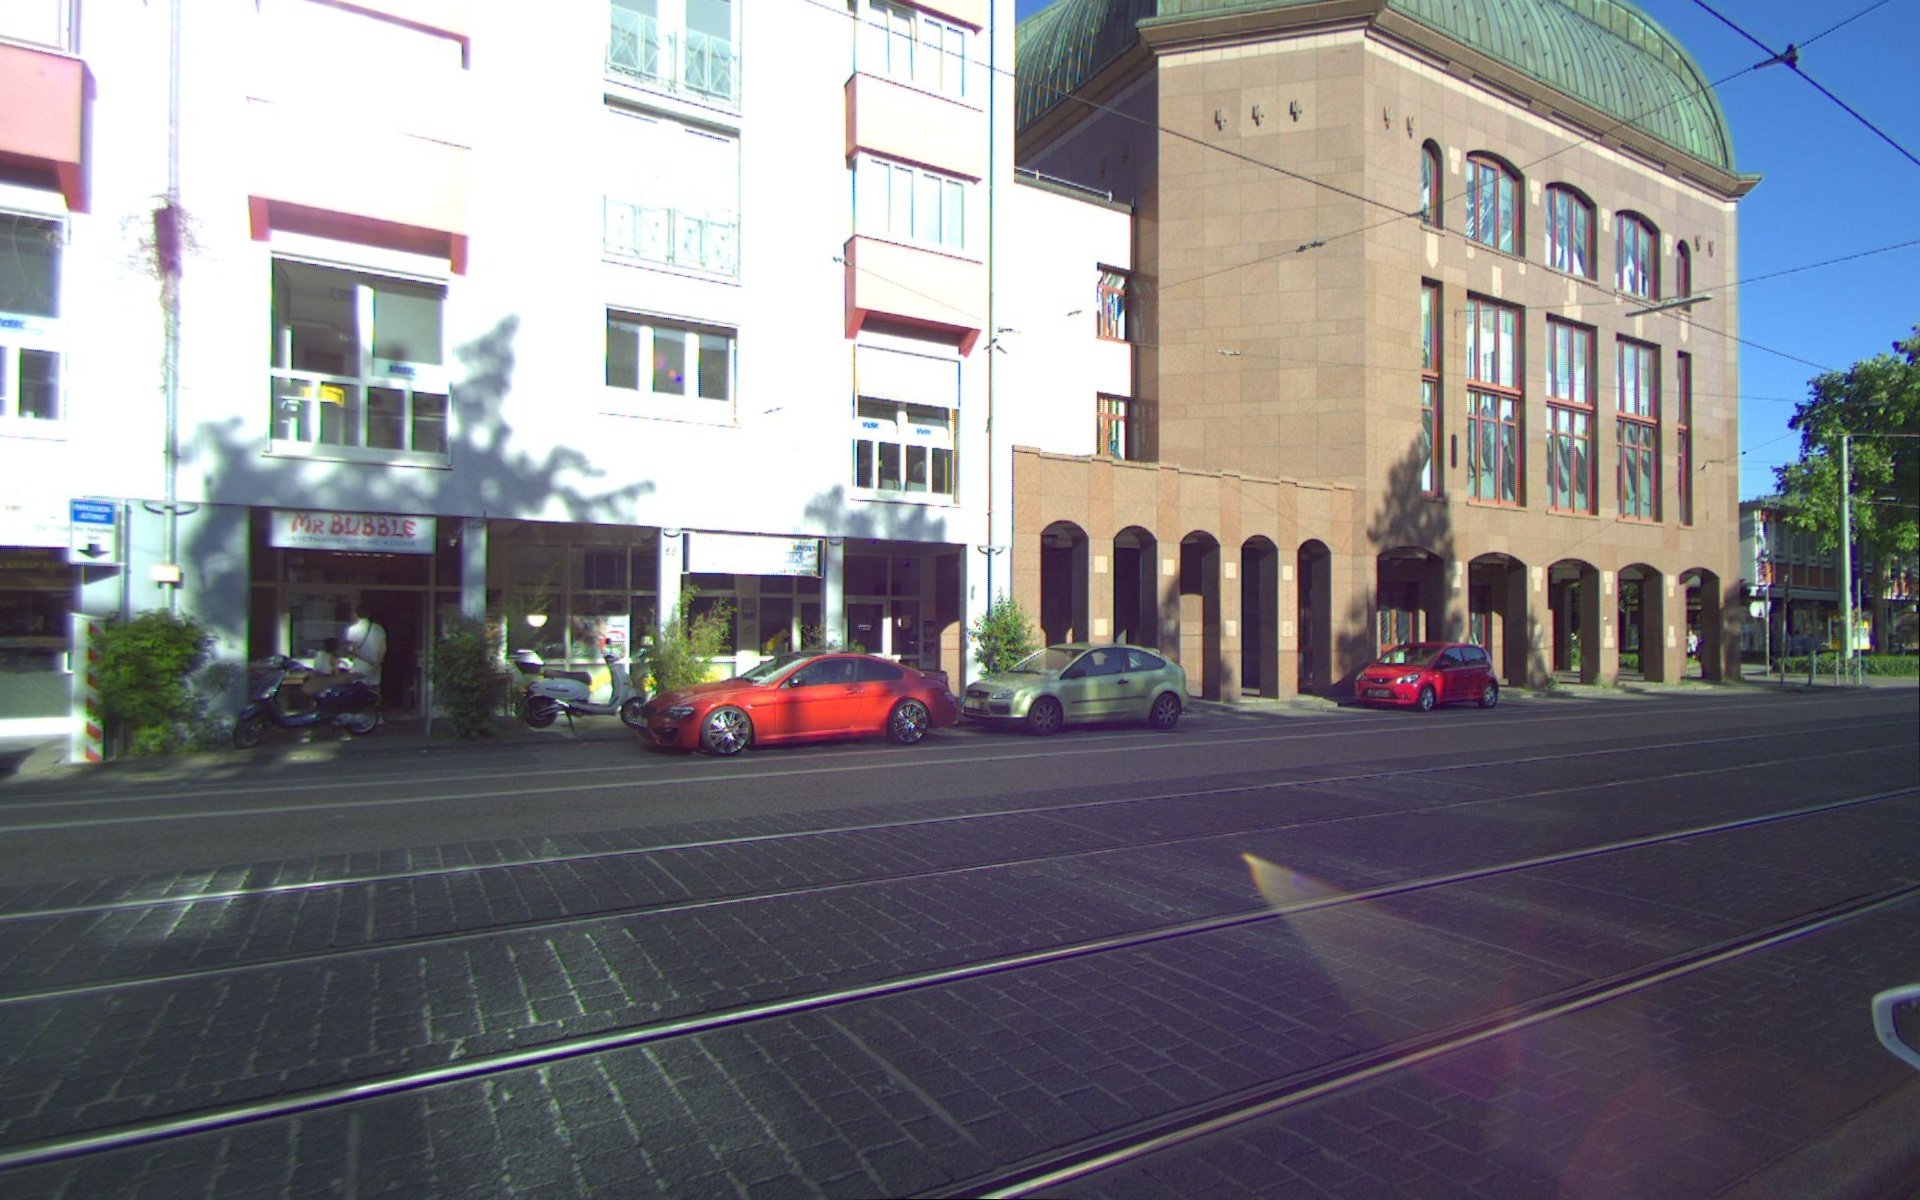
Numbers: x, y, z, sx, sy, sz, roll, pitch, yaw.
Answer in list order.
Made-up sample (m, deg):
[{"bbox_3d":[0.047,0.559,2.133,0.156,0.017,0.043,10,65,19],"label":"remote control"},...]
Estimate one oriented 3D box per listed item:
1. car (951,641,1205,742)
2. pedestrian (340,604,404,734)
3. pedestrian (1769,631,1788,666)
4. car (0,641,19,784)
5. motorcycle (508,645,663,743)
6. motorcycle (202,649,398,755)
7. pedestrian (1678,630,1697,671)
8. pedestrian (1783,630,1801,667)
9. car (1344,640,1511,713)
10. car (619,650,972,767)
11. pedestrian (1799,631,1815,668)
[{"bbox_3d":[2.089,1.491,17.384,4.240,1.488,1.661,1,0,-31],"label":"car"},{"bbox_3d":[-8.814,1.002,15.048,0.711,1.867,0.813,0,0,-39],"label":"pedestrian"},{"bbox_3d":[45.003,2.673,55.202,0.666,1.871,0.623,1,0,-33],"label":"pedestrian"},{"bbox_3d":[-11.721,1.148,9.258,4.163,1.494,1.741,1,-2,-33],"label":"car"},{"bbox_3d":[-5.446,1.330,14.673,2.058,1.315,0.516,1,0,-31],"label":"motorcycle"},{"bbox_3d":[-8.470,1.270,12.982,0.455,1.210,2.071,1,0,41],"label":"motorcycle"},{"bbox_3d":[38.242,2.647,52.829,0.591,2.093,0.669,1,0,15],"label":"pedestrian"},{"bbox_3d":[42.752,2.481,51.609,0.533,1.897,0.586,1,0,-39],"label":"pedestrian"},{"bbox_3d":[10.462,1.653,22.450,3.578,1.441,1.651,1,0,-31],"label":"car"},{"bbox_3d":[-2.342,1.469,14.755,4.766,1.343,1.950,1,0,-32],"label":"car"},{"bbox_3d":[43.273,2.527,51.320,0.583,1.826,0.541,1,0,-39],"label":"pedestrian"}]
